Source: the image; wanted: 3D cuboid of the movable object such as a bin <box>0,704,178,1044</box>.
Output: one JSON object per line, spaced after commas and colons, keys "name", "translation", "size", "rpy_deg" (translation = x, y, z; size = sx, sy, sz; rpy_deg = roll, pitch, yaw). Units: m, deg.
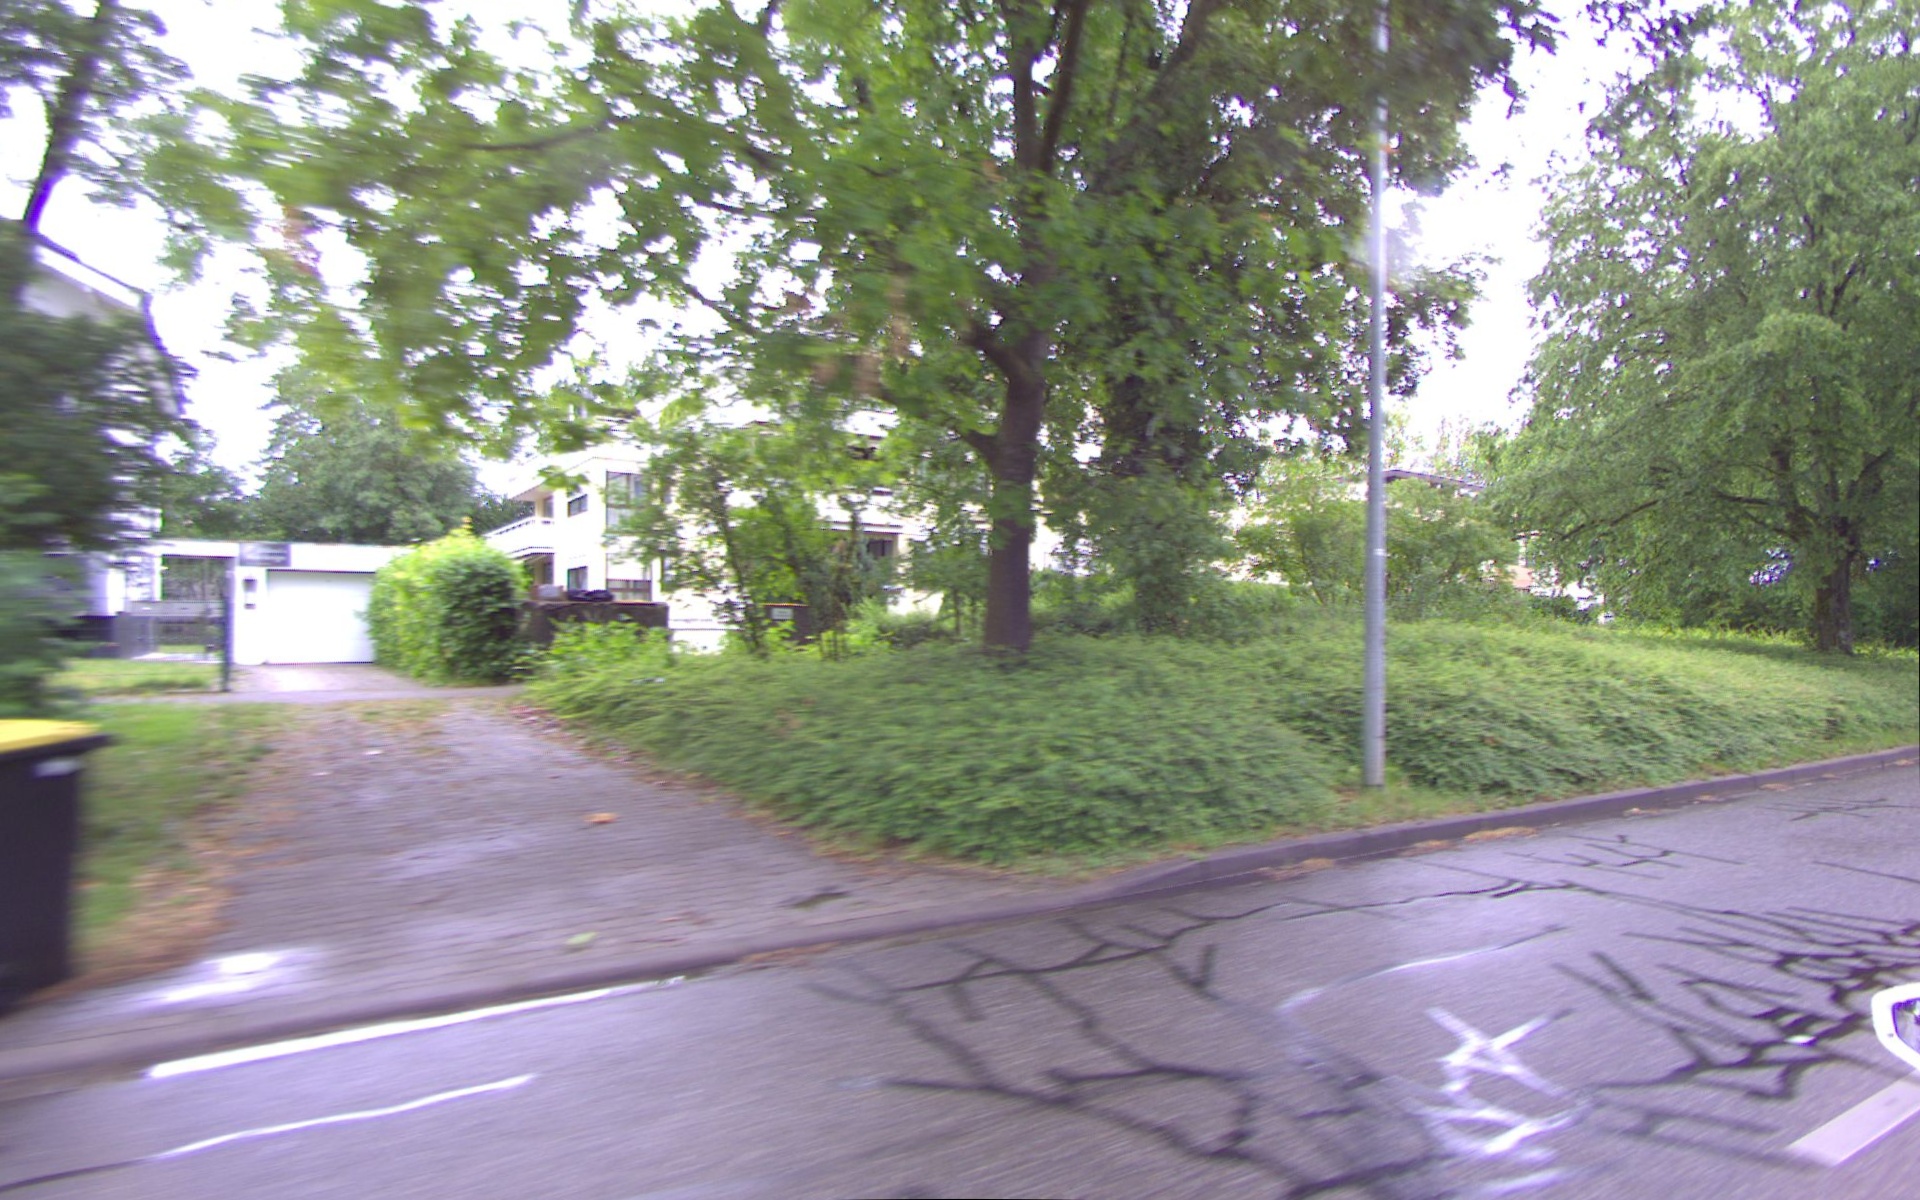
{"name": "movable object such as a bin", "translation": [-3.874, 1.050, 4.044], "size": [0.954, 1.120, 1.033], "rpy_deg": [1, 1, -28]}
